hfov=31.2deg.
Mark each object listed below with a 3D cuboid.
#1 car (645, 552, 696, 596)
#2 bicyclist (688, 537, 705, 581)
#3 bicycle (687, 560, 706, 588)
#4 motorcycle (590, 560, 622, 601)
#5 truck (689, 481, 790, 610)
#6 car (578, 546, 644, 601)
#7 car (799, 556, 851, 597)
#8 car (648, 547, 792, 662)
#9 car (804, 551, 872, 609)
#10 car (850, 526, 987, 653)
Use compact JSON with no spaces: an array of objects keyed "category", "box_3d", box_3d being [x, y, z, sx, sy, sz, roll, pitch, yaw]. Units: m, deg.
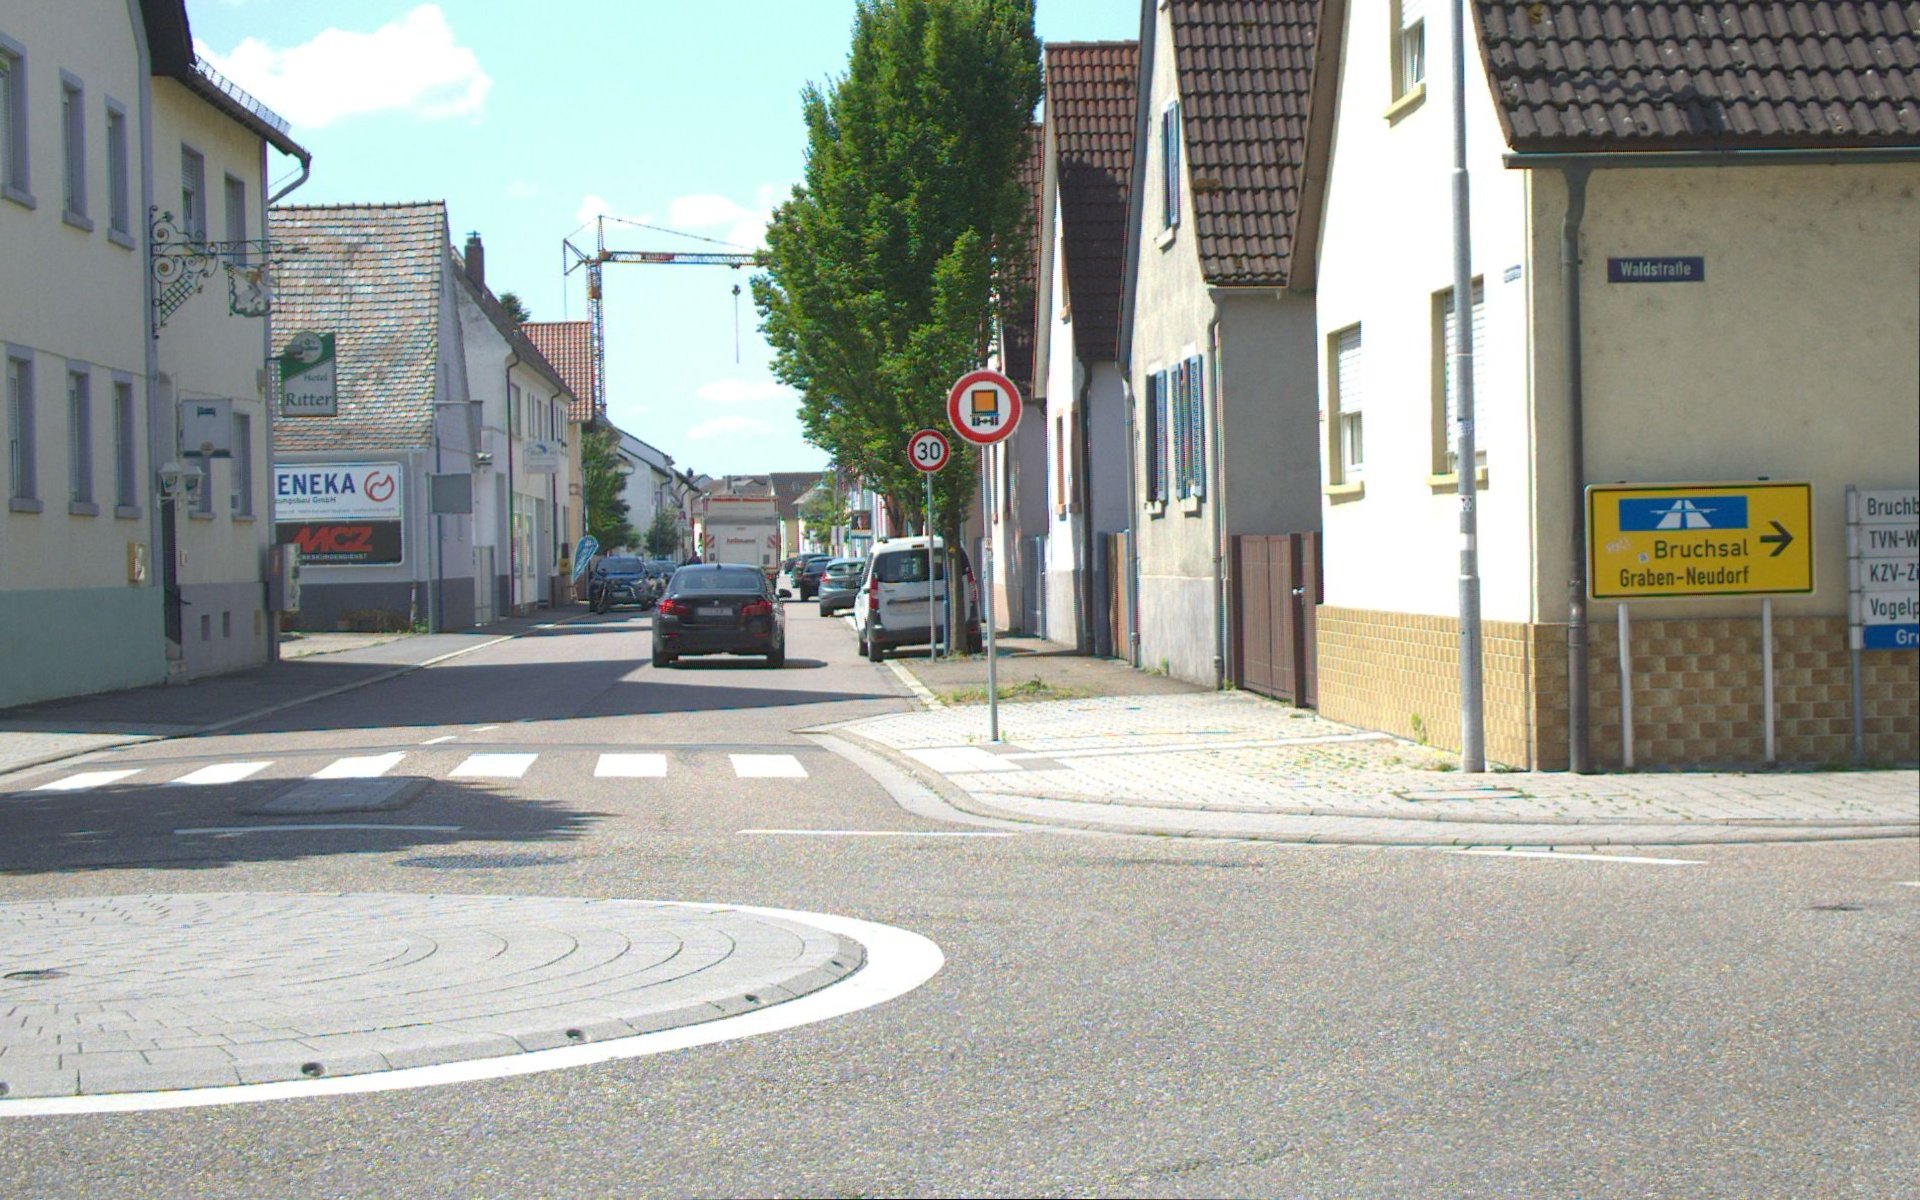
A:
[{"category":"car","box_3d":[-10.771,-0.973,128.234,1.809,1.583,4.001,-1,1,-4]},{"category":"bicyclist","box_3d":[-12.224,-1.892,159.676,0.740,2.052,0.844,1,0,-2]},{"category":"bicycle","box_3d":[-12.244,-1.211,159.826,0.751,1.303,2.685,1,0,-3]},{"category":"motorcycle","box_3d":[-10.215,-0.565,99.260,0.846,1.166,2.469,1,0,-4]},{"category":"truck","box_3d":[-7.490,-1.819,117.853,3.144,4.236,9.303,1,0,-2]},{"category":"car","box_3d":[-10.438,-0.803,103.073,1.809,1.583,4.001,-1,1,-4]},{"category":"car","box_3d":[-4.632,-0.817,117.396,1.719,1.350,4.157,-1,1,-3]},{"category":"car","box_3d":[-3.428,0.028,49.757,1.902,1.558,4.477,-1,1,-2]},{"category":"car","box_3d":[-3.144,-0.545,89.075,1.719,1.456,4.157,0,1,-1]},{"category":"car","box_3d":[-0.671,-0.185,52.396,1.719,1.784,4.145,-3,1,-5]}]
